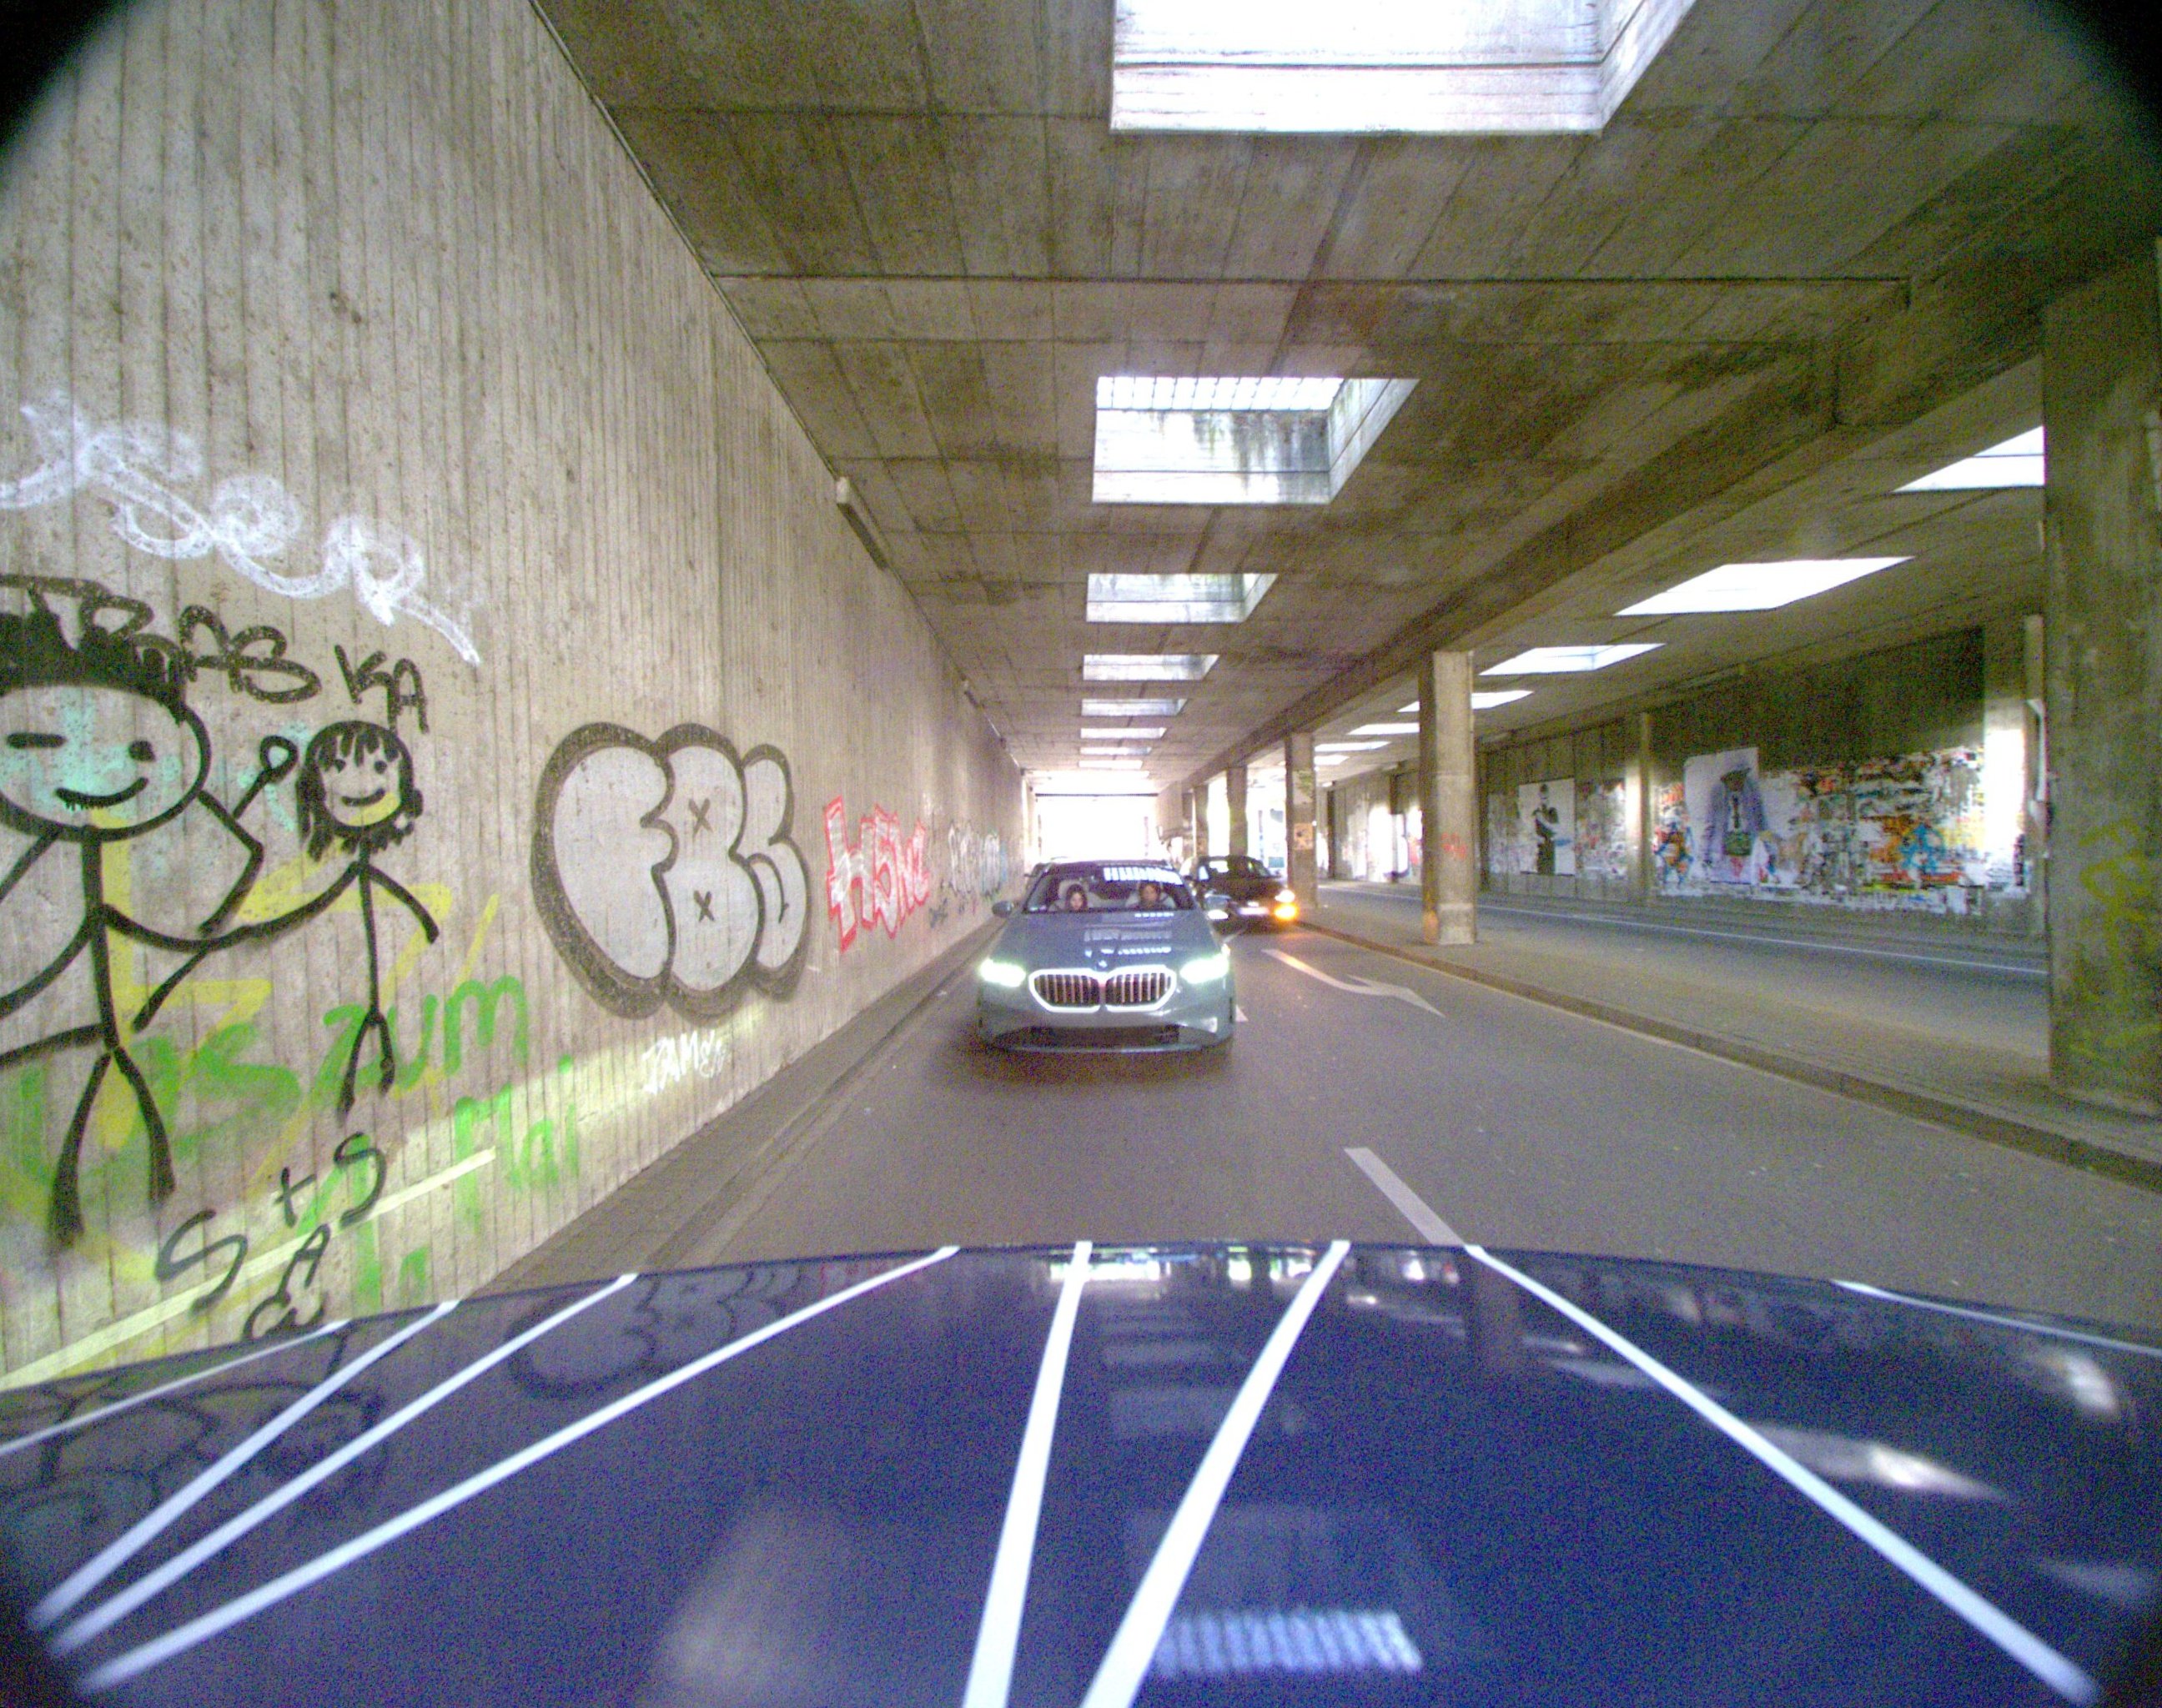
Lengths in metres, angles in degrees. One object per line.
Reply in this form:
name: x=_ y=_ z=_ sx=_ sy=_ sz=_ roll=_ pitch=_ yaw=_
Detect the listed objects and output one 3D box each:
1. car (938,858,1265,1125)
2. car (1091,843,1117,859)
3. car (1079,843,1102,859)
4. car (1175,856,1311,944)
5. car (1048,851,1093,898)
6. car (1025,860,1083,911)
car: x=0.205 y=0.872 z=7.311 sx=1.998 sy=1.594 sz=5.176 roll=-1 pitch=0 yaw=2
car: x=2.886 y=-0.377 z=97.522 sx=2.361 sy=2.002 sz=5.146 roll=-1 pitch=0 yaw=-8
car: x=1.232 y=-0.382 z=103.535 sx=2.361 sy=2.002 sz=5.146 roll=-1 pitch=0 yaw=-8
car: x=3.119 y=0.813 z=15.461 sx=1.784 sy=1.438 sz=4.178 roll=-3 pitch=0 yaw=0
car: x=-0.346 y=0.751 z=29.892 sx=1.581 sy=1.676 sz=4.078 roll=-2 pitch=0 yaw=1
car: x=-0.769 y=0.936 z=23.885 sx=1.593 sy=1.387 sz=3.833 roll=-2 pitch=0 yaw=1
